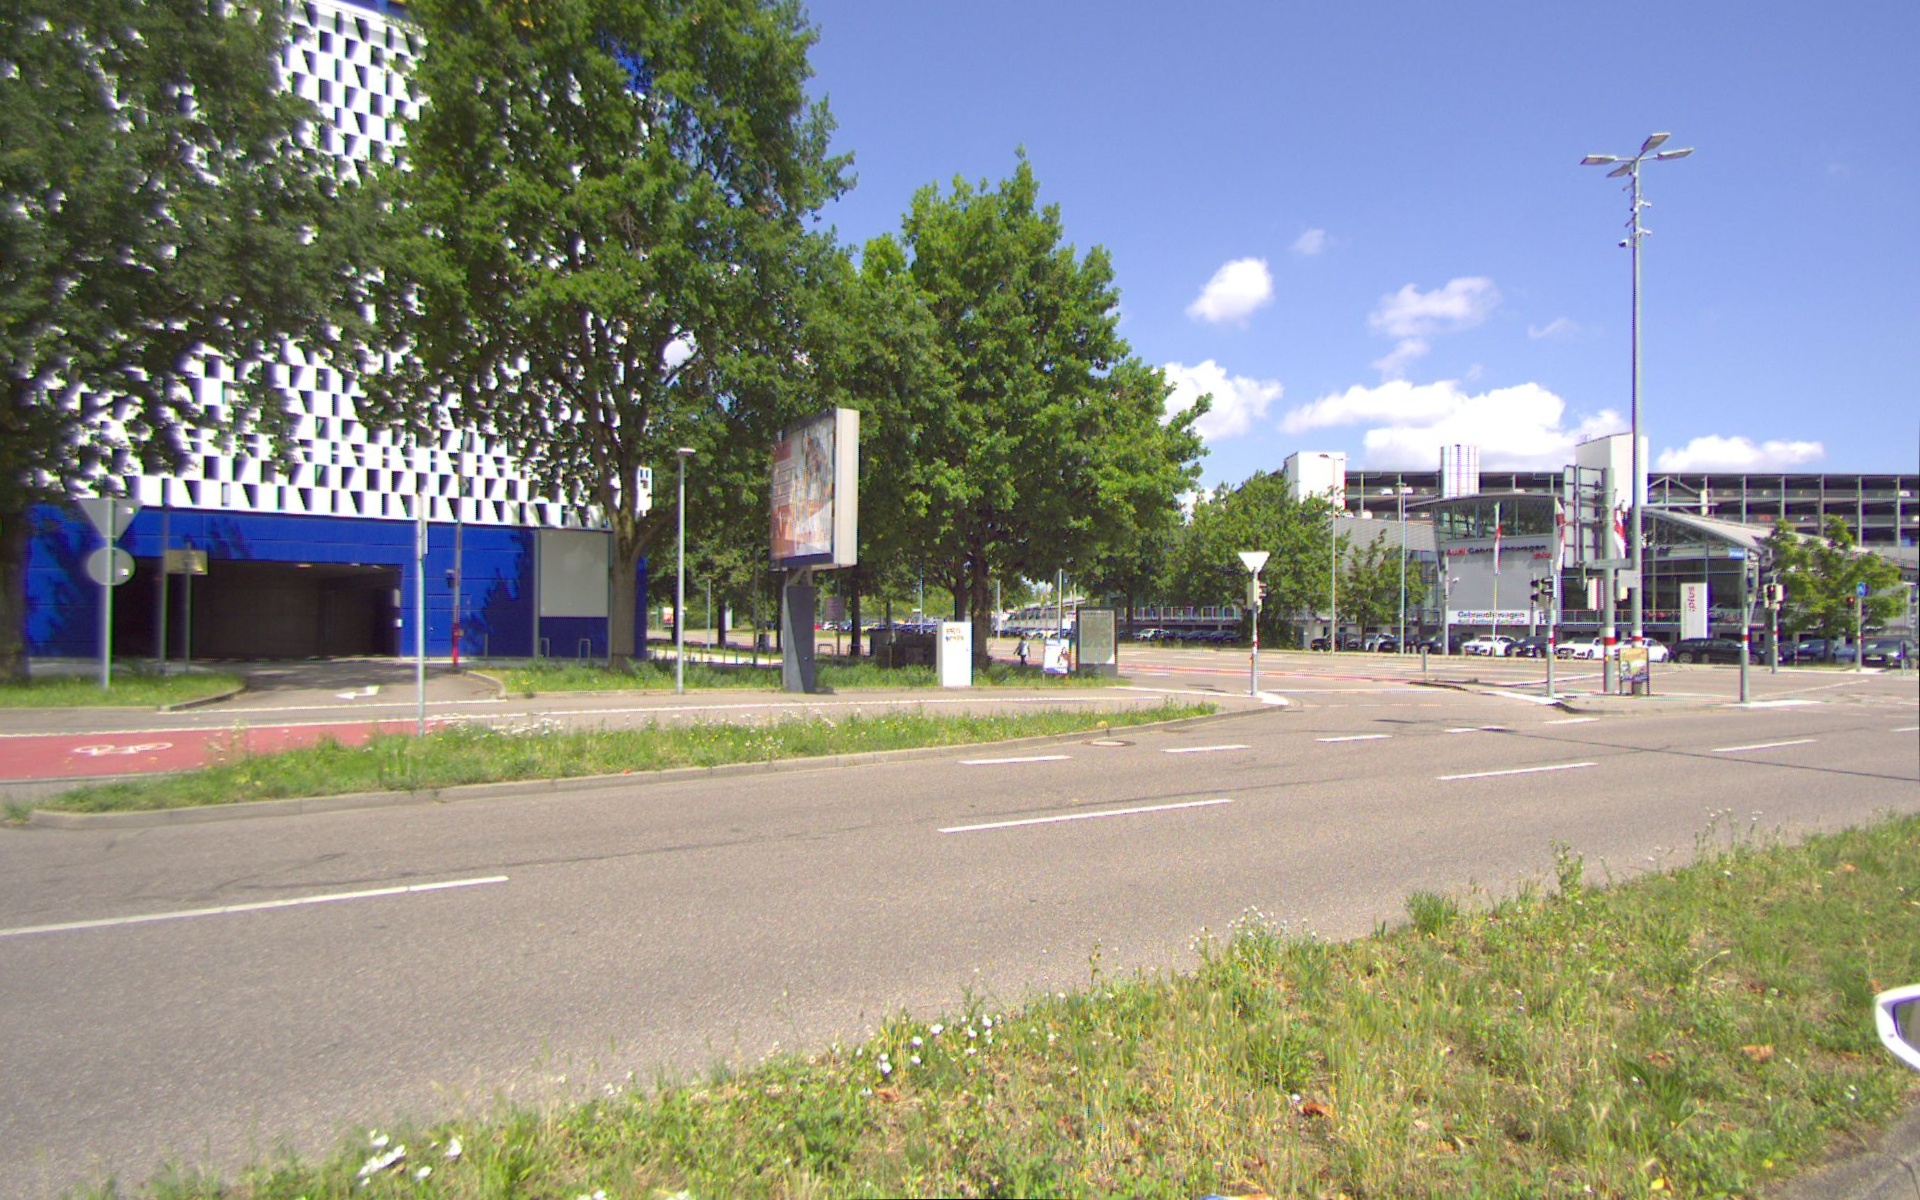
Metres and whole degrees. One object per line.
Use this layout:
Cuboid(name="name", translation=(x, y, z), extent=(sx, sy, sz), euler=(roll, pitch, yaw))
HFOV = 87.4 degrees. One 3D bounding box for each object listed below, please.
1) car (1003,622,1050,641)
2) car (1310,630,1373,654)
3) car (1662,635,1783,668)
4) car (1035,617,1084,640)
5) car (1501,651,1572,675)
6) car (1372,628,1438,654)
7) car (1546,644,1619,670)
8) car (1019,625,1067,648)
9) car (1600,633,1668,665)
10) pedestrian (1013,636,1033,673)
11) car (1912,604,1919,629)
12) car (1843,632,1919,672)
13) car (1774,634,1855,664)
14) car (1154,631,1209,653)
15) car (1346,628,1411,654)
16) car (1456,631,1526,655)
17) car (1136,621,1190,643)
Cuboid(name="car", translation=(6.798, 3.211, 102.189), extent=(4.544, 1.700, 1.889), euler=(3, -1, -35))
Cuboid(name="car", translation=(26.791, 2.960, 70.435), extent=(4.544, 1.423, 1.889), euler=(4, -1, -35))
Cuboid(name="car", translation=(39.662, 2.663, 52.341), extent=(1.778, 1.483, 4.710), euler=(5, -4, -34))
Cuboid(name="car", translation=(9.713, 2.759, 97.606), extent=(4.544, 2.076, 1.889), euler=(3, -1, -35))
Cuboid(name="car", translation=(34.030, 3.717, 59.276), extent=(4.544, 1.314, 1.889), euler=(3, -1, -35))
Cuboid(name="car", translation=(29.371, 2.693, 66.221), extent=(4.545, 1.402, 1.889), euler=(5, -2, -35))
Cuboid(name="car", translation=(35.627, 3.279, 57.497), extent=(4.544, 1.314, 1.889), euler=(3, -1, -35))
Cuboid(name="car", translation=(8.268, 3.636, 100.225), extent=(4.544, 2.076, 1.889), euler=(3, -1, -35))
Cuboid(name="car", translation=(36.993, 2.683, 55.126), extent=(3.961, 1.483, 1.779), euler=(6, -4, -35))
Cuboid(name="pedestrian", translation=(2.704, 2.356, 43.392), extent=(0.499, 1.576, 0.753), euler=(1, -1, -34))
Cuboid(name="car", translation=(75.585, 1.322, 76.335), extent=(1.747, 1.825, 4.412), euler=(3, -1, -35))
Cuboid(name="car", translation=(42.834, 2.413, 46.517), extent=(4.544, 1.700, 1.889), euler=(3, -1, -35))
Cuboid(name="car", translation=(41.455, 2.390, 48.698), extent=(4.544, 1.314, 1.889), euler=(3, -1, -35))
Cuboid(name="car", translation=(18.588, 3.566, 84.337), extent=(4.544, 1.700, 1.889), euler=(3, -1, -35))
Cuboid(name="car", translation=(28.435, 2.781, 68.209), extent=(4.545, 1.423, 1.889), euler=(6, -2, -35))
Cuboid(name="car", translation=(32.666, 2.658, 61.746), extent=(4.544, 1.314, 1.889), euler=(3, -1, -35))
Cuboid(name="car", translation=(17.410, 2.782, 86.165), extent=(4.544, 1.700, 1.889), euler=(3, -1, -35))
